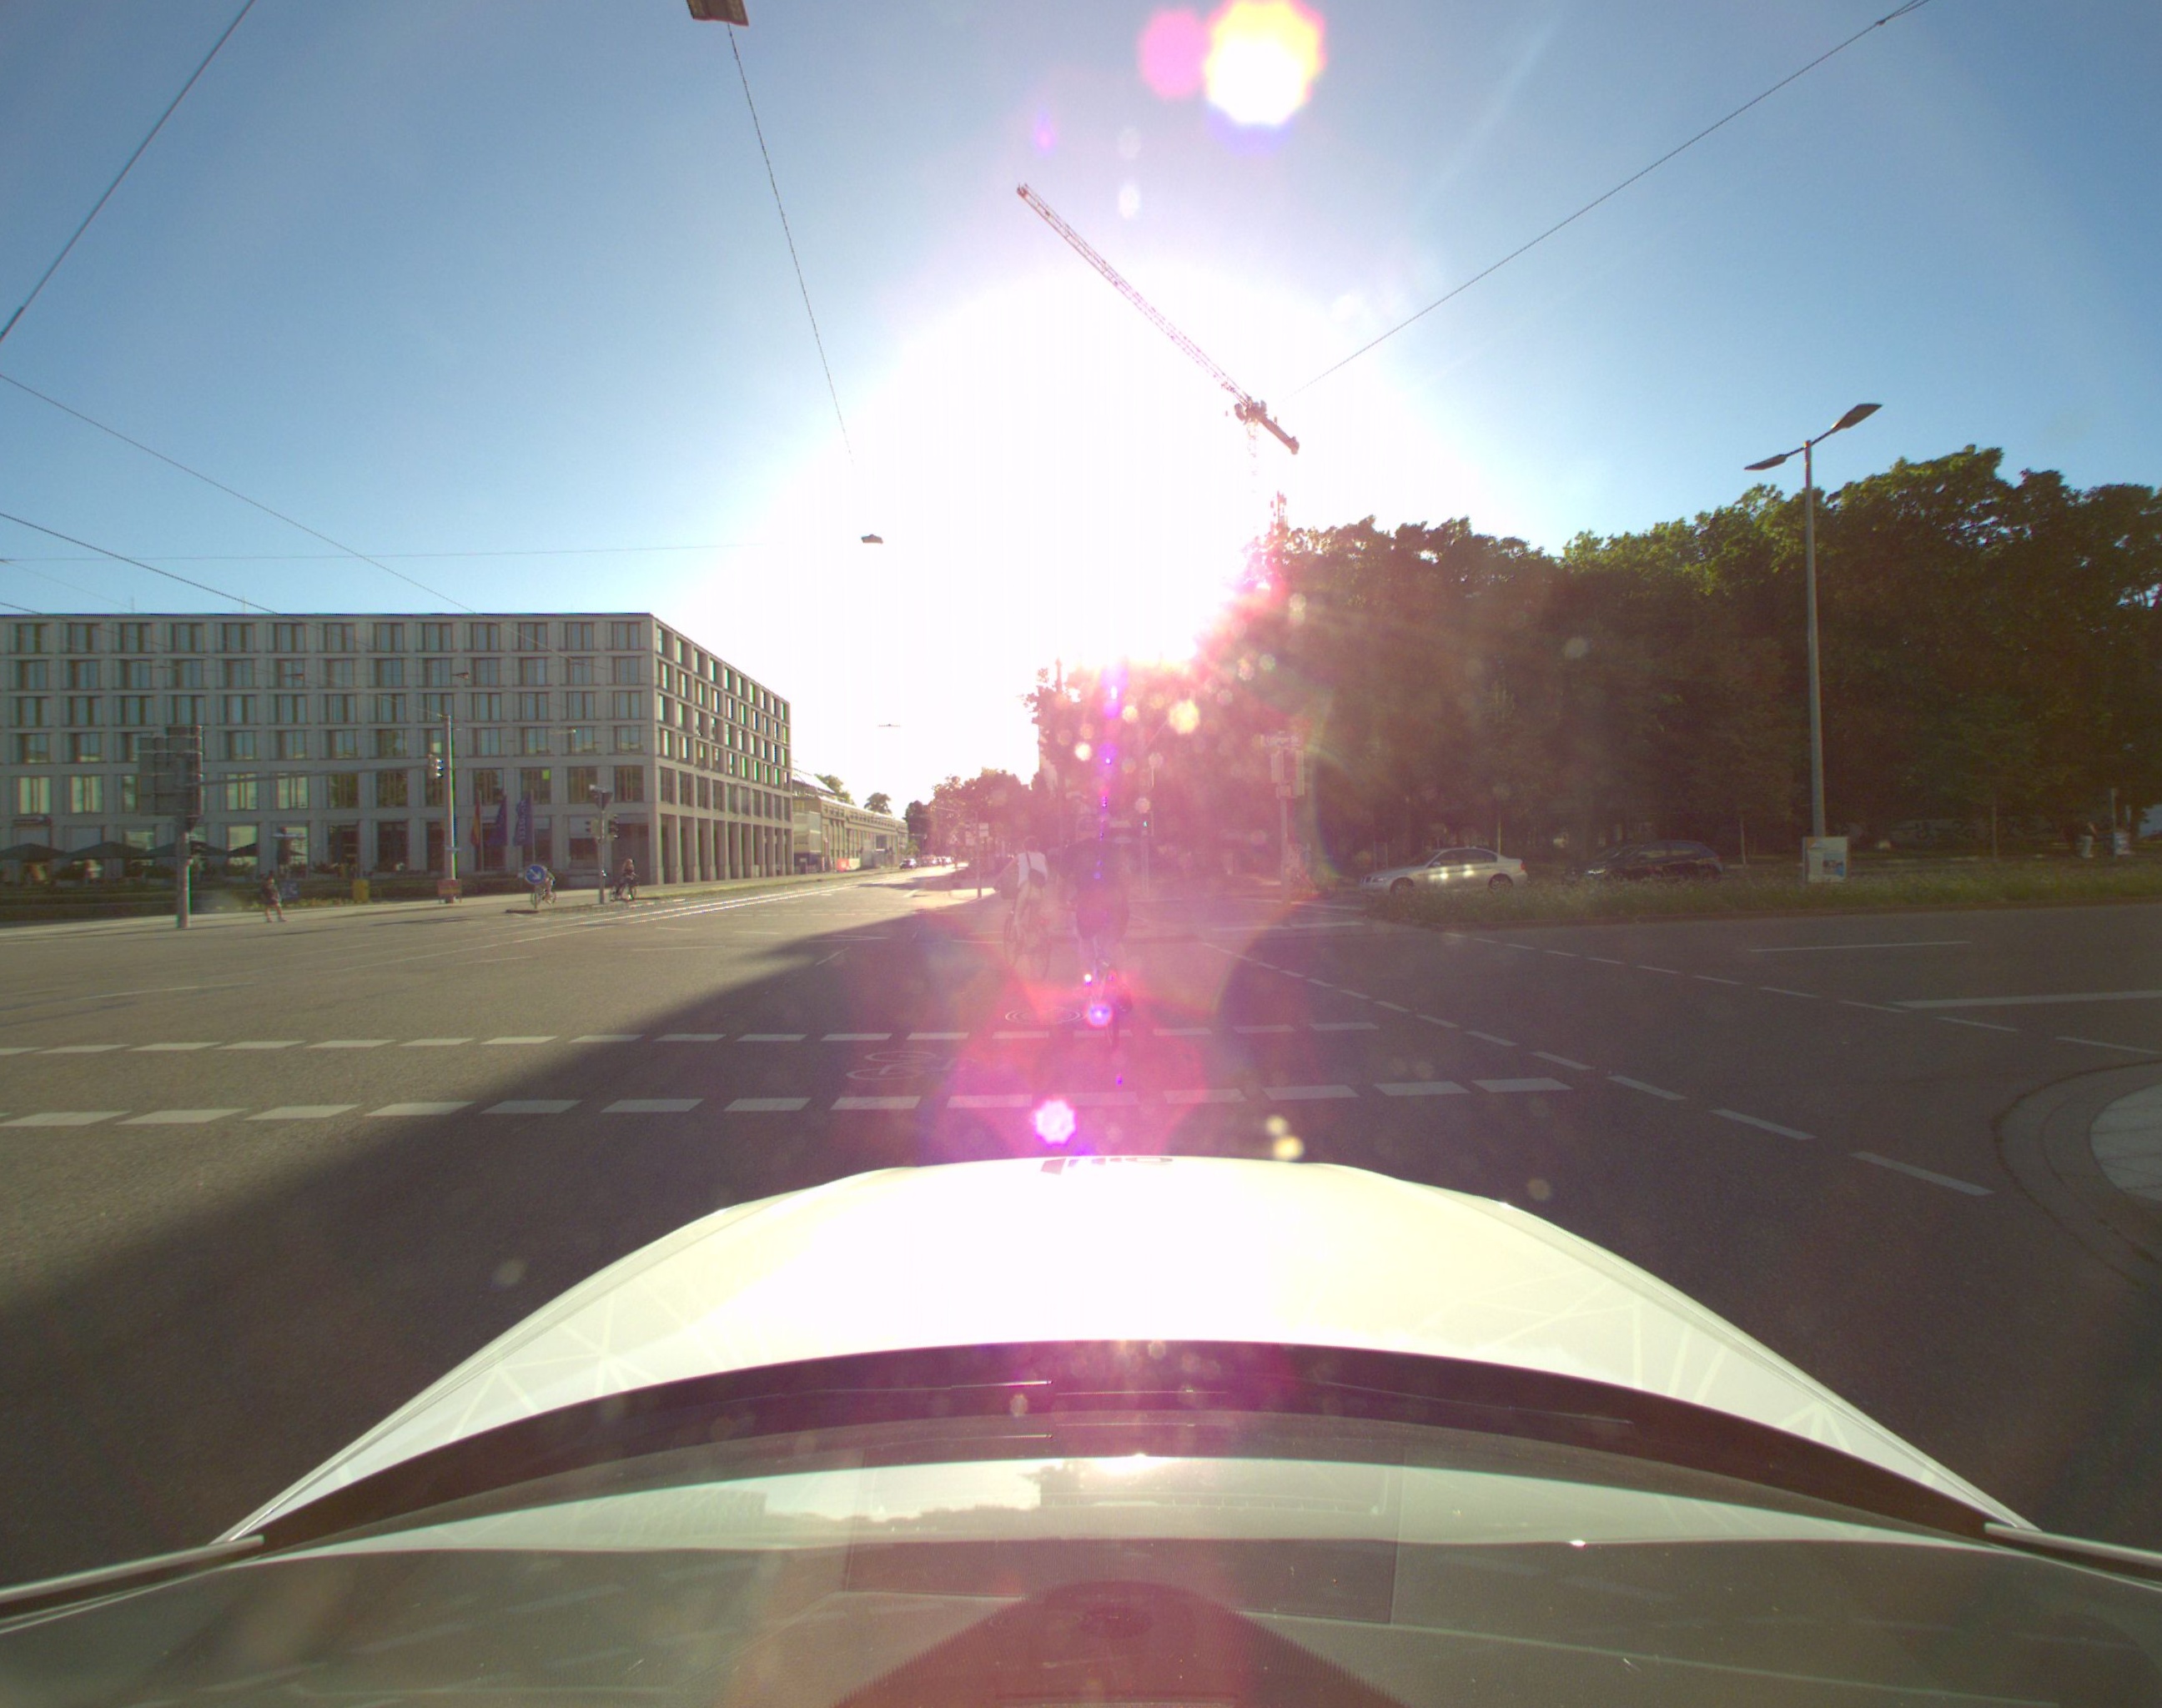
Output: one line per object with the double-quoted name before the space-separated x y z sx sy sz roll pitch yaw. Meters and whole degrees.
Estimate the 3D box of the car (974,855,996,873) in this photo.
"car" -8.401 0.874 71.423 1.695 1.428 3.993 -2 0 -5

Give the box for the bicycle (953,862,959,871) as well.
"bicycle" -16.852 1.687 109.788 0.659 1.156 1.807 -2 0 -3

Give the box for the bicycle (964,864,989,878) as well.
"bicycle" -7.139 1.148 55.613 1.601 0.889 0.767 -2 0 -12

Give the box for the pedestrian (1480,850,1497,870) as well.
"pedestrian" 27.833 0.381 55.685 0.711 1.340 0.829 -2 0 0

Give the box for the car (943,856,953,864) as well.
"car" -29.669 1.323 181.902 1.990 1.882 3.993 -2 0 -5

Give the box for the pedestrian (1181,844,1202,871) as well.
"pedestrian" 7.327 0.250 54.048 1.203 1.740 0.898 -2 0 13

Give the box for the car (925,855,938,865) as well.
"car" -27.009 1.058 147.232 1.990 1.640 3.993 -2 0 -5

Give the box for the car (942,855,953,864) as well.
"car" -28.850 1.238 176.208 1.990 1.882 3.993 -2 0 -5

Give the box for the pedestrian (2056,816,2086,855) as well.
"pedestrian" 44.978 -0.852 37.001 0.650 1.740 0.526 -2 0 1

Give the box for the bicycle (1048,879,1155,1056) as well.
"bicycle" 0.112 0.865 7.010 0.774 1.240 2.019 0 0 -3

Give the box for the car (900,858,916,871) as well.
"car" -27.938 1.648 131.723 1.990 1.969 3.993 -2 0 -5

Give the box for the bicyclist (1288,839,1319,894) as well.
"bicyclist" 6.949 0.397 25.493 0.830 1.679 0.786 -2 -1 12

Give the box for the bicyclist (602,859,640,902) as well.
"bicyclist" -17.894 1.039 31.675 0.960 1.619 0.857 -2 -1 26

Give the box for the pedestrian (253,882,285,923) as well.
"pedestrian" -31.384 1.862 31.485 0.601 1.525 0.622 -2 -1 -7

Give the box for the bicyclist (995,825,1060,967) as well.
"bicyclist" -0.653 0.495 10.191 0.771 1.690 0.924 0 1 -3

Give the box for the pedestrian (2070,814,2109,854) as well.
"pedestrian" 44.975 -0.870 36.321 0.755 1.740 0.774 -2 0 1

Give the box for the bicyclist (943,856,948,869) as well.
"bicyclist" -19.186 1.245 115.308 0.634 1.853 0.782 -2 -1 -3

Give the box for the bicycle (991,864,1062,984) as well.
"bicycle" -0.645 0.784 10.118 0.774 1.239 2.310 0 1 -3

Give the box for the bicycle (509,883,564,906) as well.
"bicycle" -23.171 1.726 34.717 0.838 0.851 2.333 -2 0 -2

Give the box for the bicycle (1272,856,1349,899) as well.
"bicycle" 7.156 0.724 25.448 2.227 1.240 0.781 -2 -1 11

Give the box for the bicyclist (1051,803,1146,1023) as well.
"bicyclist" 0.122 0.469 6.907 0.750 1.743 0.838 0 -1 -3

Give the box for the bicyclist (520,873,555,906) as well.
"bicyclist" -23.172 1.496 34.712 0.822 1.362 0.972 -2 0 -3

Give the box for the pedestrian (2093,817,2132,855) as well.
"pedestrian" 45.025 -0.769 35.562 0.721 1.641 0.745 -2 0 1

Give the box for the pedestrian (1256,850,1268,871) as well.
"pedestrian" 12.136 0.437 54.640 0.595 1.340 0.733 -2 0 0

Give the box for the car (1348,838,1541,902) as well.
"car" 10.102 0.441 22.884 4.524 1.560 1.998 -2 0 -3

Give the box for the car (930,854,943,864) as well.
"car" -27.705 0.952 155.995 1.990 1.882 3.993 -2 0 -5

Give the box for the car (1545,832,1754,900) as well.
"car" 15.850 0.331 22.883 4.524 1.675 1.998 -2 0 -3

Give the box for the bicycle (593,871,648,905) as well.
"bicycle" -17.920 1.329 31.693 1.989 1.231 0.851 -2 0 26

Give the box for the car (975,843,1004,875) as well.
"car" -8.703 0.471 77.751 2.588 2.952 5.079 -2 0 -5

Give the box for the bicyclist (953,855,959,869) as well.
"bicyclist" -16.856 1.118 109.803 0.662 1.853 0.782 -2 -1 -3

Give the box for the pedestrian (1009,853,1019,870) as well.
"pedestrian" -7.035 0.765 85.984 0.785 1.740 0.888 -2 0 -22

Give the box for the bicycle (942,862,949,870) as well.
"bicycle" -19.185 1.734 115.471 0.659 1.156 1.807 -2 0 -3
